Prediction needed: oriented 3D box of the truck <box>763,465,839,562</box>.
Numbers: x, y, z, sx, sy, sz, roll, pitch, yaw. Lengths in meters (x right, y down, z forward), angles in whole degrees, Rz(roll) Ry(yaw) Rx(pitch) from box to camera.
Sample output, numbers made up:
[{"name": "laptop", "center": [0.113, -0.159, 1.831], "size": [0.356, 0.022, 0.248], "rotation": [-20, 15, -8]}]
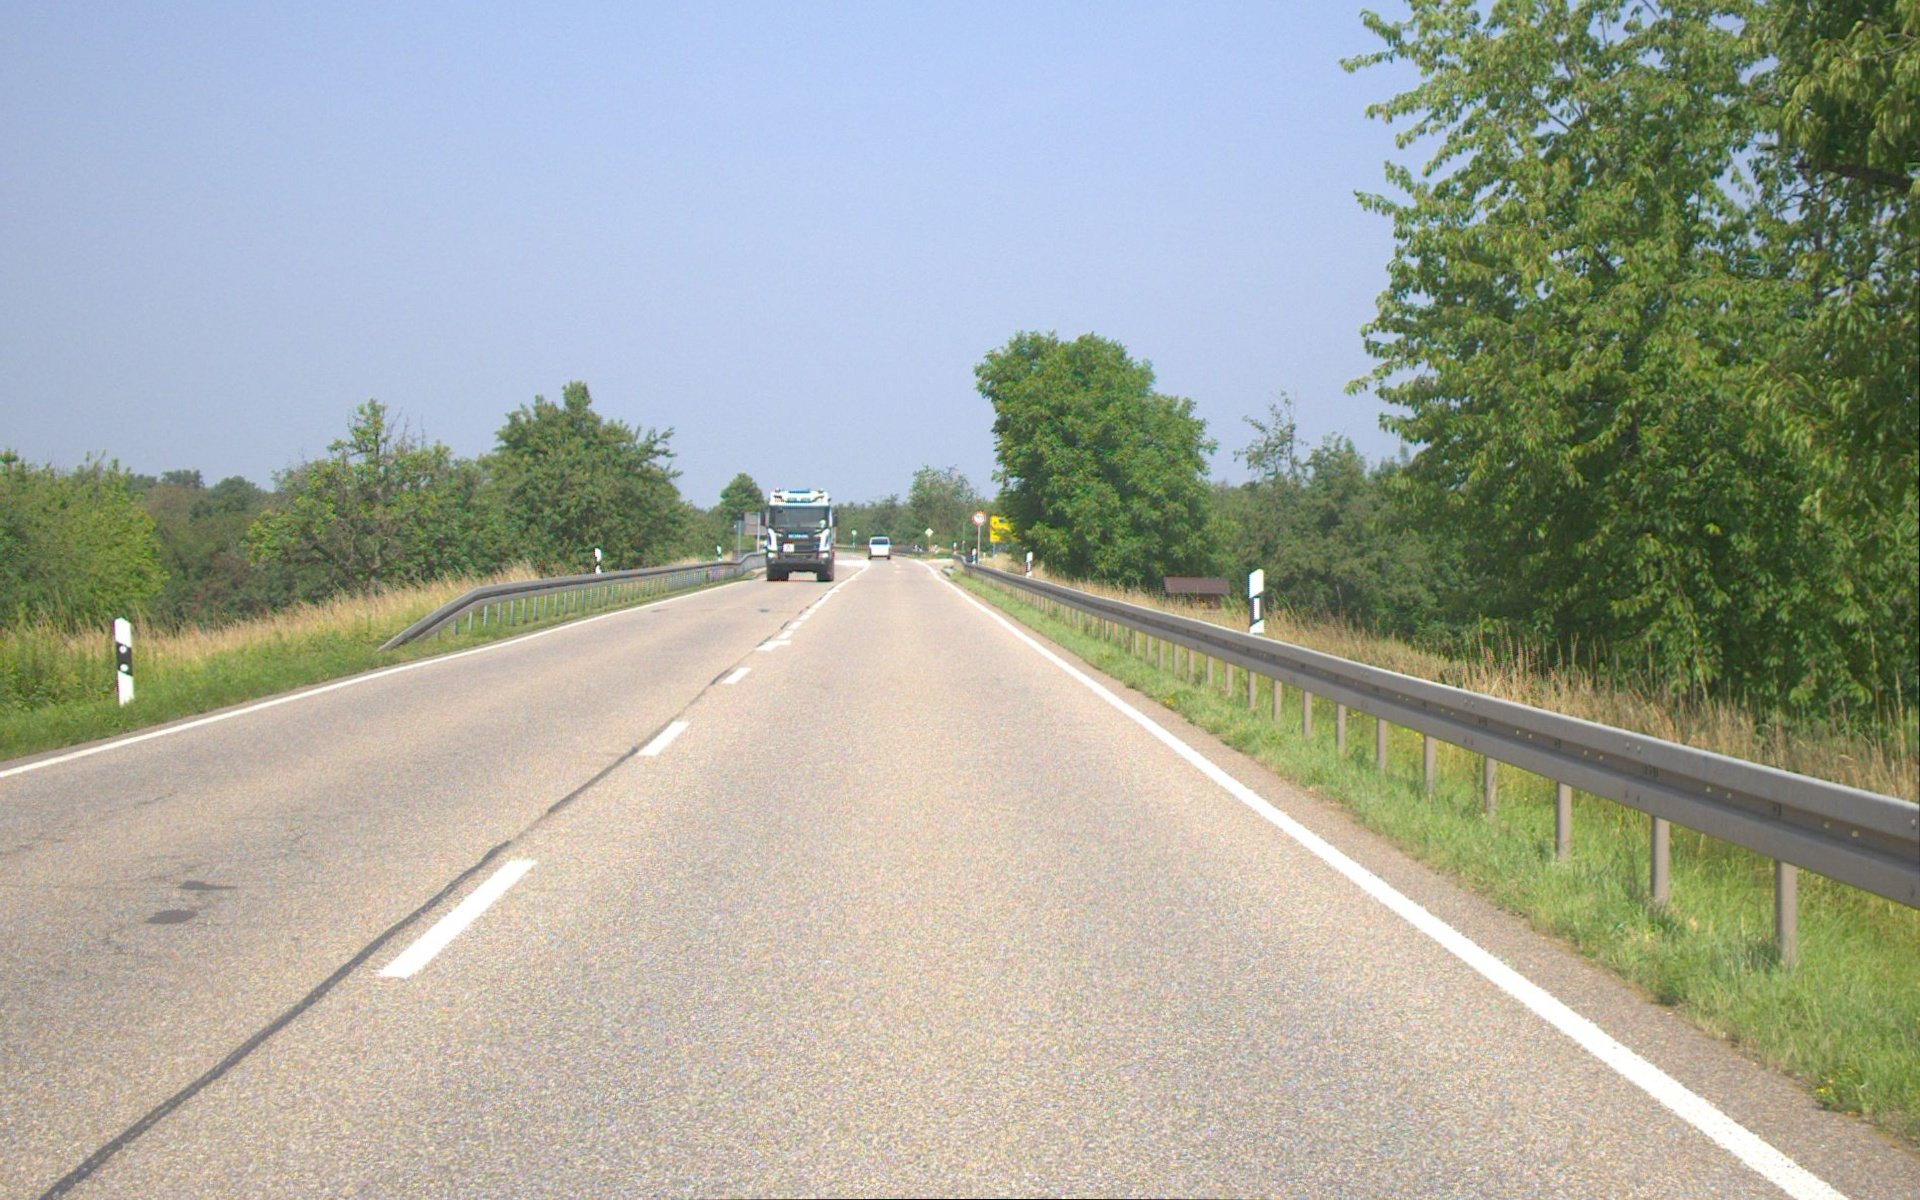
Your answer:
[{"name": "truck", "center": [-6.229, -3.363, 135.729], "size": [2.728, 3.659, 9.384], "rotation": [0, 1, -1]}]
